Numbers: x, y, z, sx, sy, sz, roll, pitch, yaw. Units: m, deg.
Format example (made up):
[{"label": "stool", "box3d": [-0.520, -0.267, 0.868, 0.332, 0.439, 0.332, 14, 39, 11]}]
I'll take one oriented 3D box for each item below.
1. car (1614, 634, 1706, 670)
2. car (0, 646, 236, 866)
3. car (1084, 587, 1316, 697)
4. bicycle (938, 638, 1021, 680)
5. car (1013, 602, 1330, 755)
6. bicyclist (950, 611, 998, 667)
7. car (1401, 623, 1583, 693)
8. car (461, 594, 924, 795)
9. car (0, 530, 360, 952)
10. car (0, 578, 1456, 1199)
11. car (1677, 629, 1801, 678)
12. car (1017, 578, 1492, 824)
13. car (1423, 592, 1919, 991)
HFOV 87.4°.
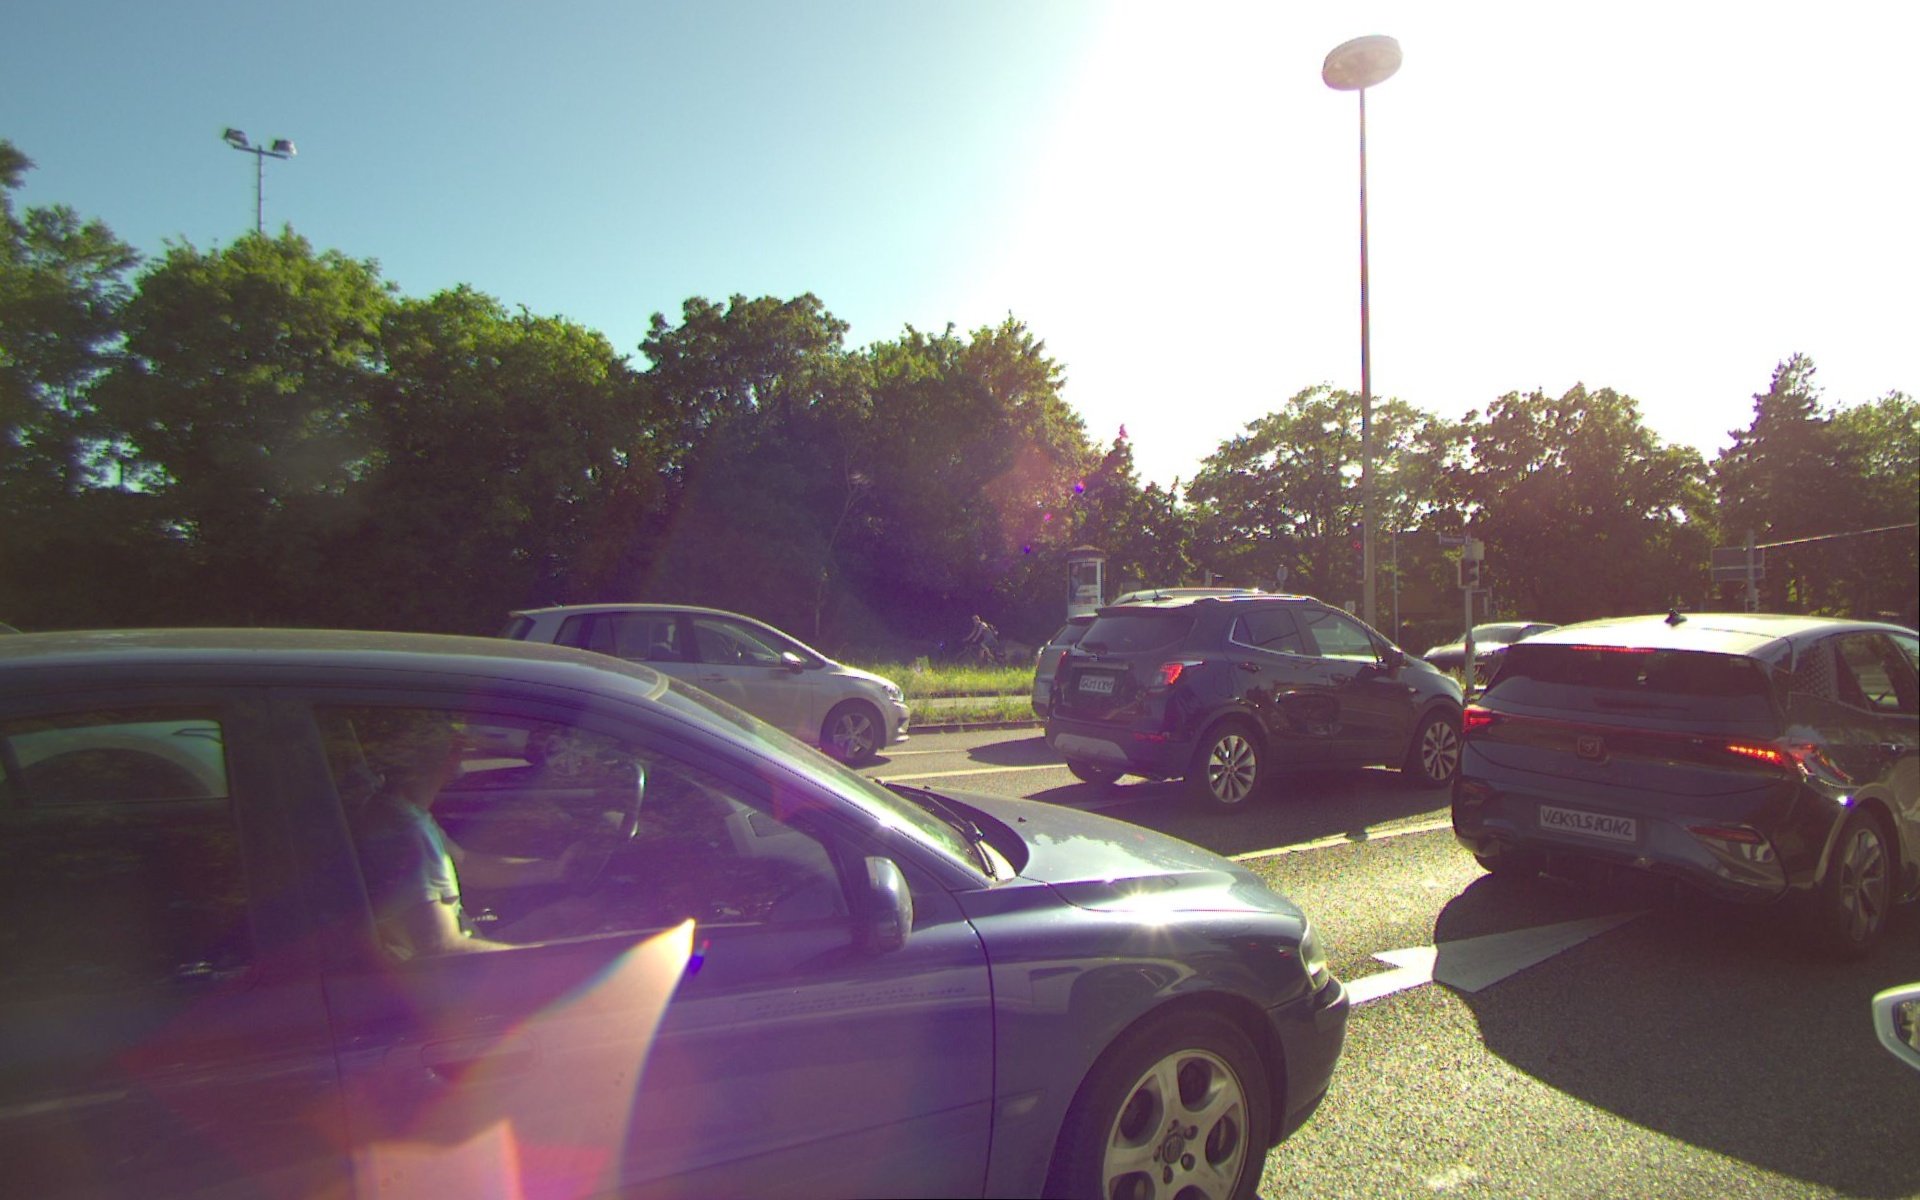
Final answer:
[{"label": "car", "box3d": [25.512, 1.882, 36.583, 3.593, 1.251, 1.383, 1, -2, -30]}, {"label": "car", "box3d": [-7.907, 1.067, 6.943, 4.499, 1.448, 1.822, 1, -2, -30]}, {"label": "car", "box3d": [6.139, 1.040, 25.389, 5.934, 2.525, 2.090, 1, -2, -30]}, {"label": "bicycle", "box3d": [0.595, 1.774, 30.576, 2.511, 1.228, 0.870, 1, -2, -35]}, {"label": "car", "box3d": [2.816, 0.946, 13.182, 3.956, 1.724, 1.820, 1, -2, -32]}, {"label": "bicyclist", "box3d": [0.433, 1.191, 30.535, 1.187, 1.670, 0.870, 1, -2, -35]}, {"label": "car", "box3d": [13.444, 1.420, 25.330, 4.561, 1.622, 1.984, 1, -2, -30]}, {"label": "car", "box3d": [-2.608, 0.828, 10.006, 4.156, 1.632, 1.822, 1, -2, -30]}, {"label": "car", "box3d": [-5.275, 0.589, 4.491, 4.373, 1.732, 1.984, 1, -2, -30]}, {"label": "car", "box3d": [-1.090, 0.719, 2.202, 4.404, 1.471, 1.767, 2, 0, -30]}, {"label": "car", "box3d": [25.049, 1.697, 32.279, 4.116, 1.482, 1.768, 1, -2, -30]}, {"label": "car", "box3d": [2.626, 0.763, 8.795, 3.953, 1.711, 1.796, 1, -2, -30]}, {"label": "car", "box3d": [4.746, 0.822, 5.816, 4.158, 1.601, 1.676, 2, -1, -30]}]
